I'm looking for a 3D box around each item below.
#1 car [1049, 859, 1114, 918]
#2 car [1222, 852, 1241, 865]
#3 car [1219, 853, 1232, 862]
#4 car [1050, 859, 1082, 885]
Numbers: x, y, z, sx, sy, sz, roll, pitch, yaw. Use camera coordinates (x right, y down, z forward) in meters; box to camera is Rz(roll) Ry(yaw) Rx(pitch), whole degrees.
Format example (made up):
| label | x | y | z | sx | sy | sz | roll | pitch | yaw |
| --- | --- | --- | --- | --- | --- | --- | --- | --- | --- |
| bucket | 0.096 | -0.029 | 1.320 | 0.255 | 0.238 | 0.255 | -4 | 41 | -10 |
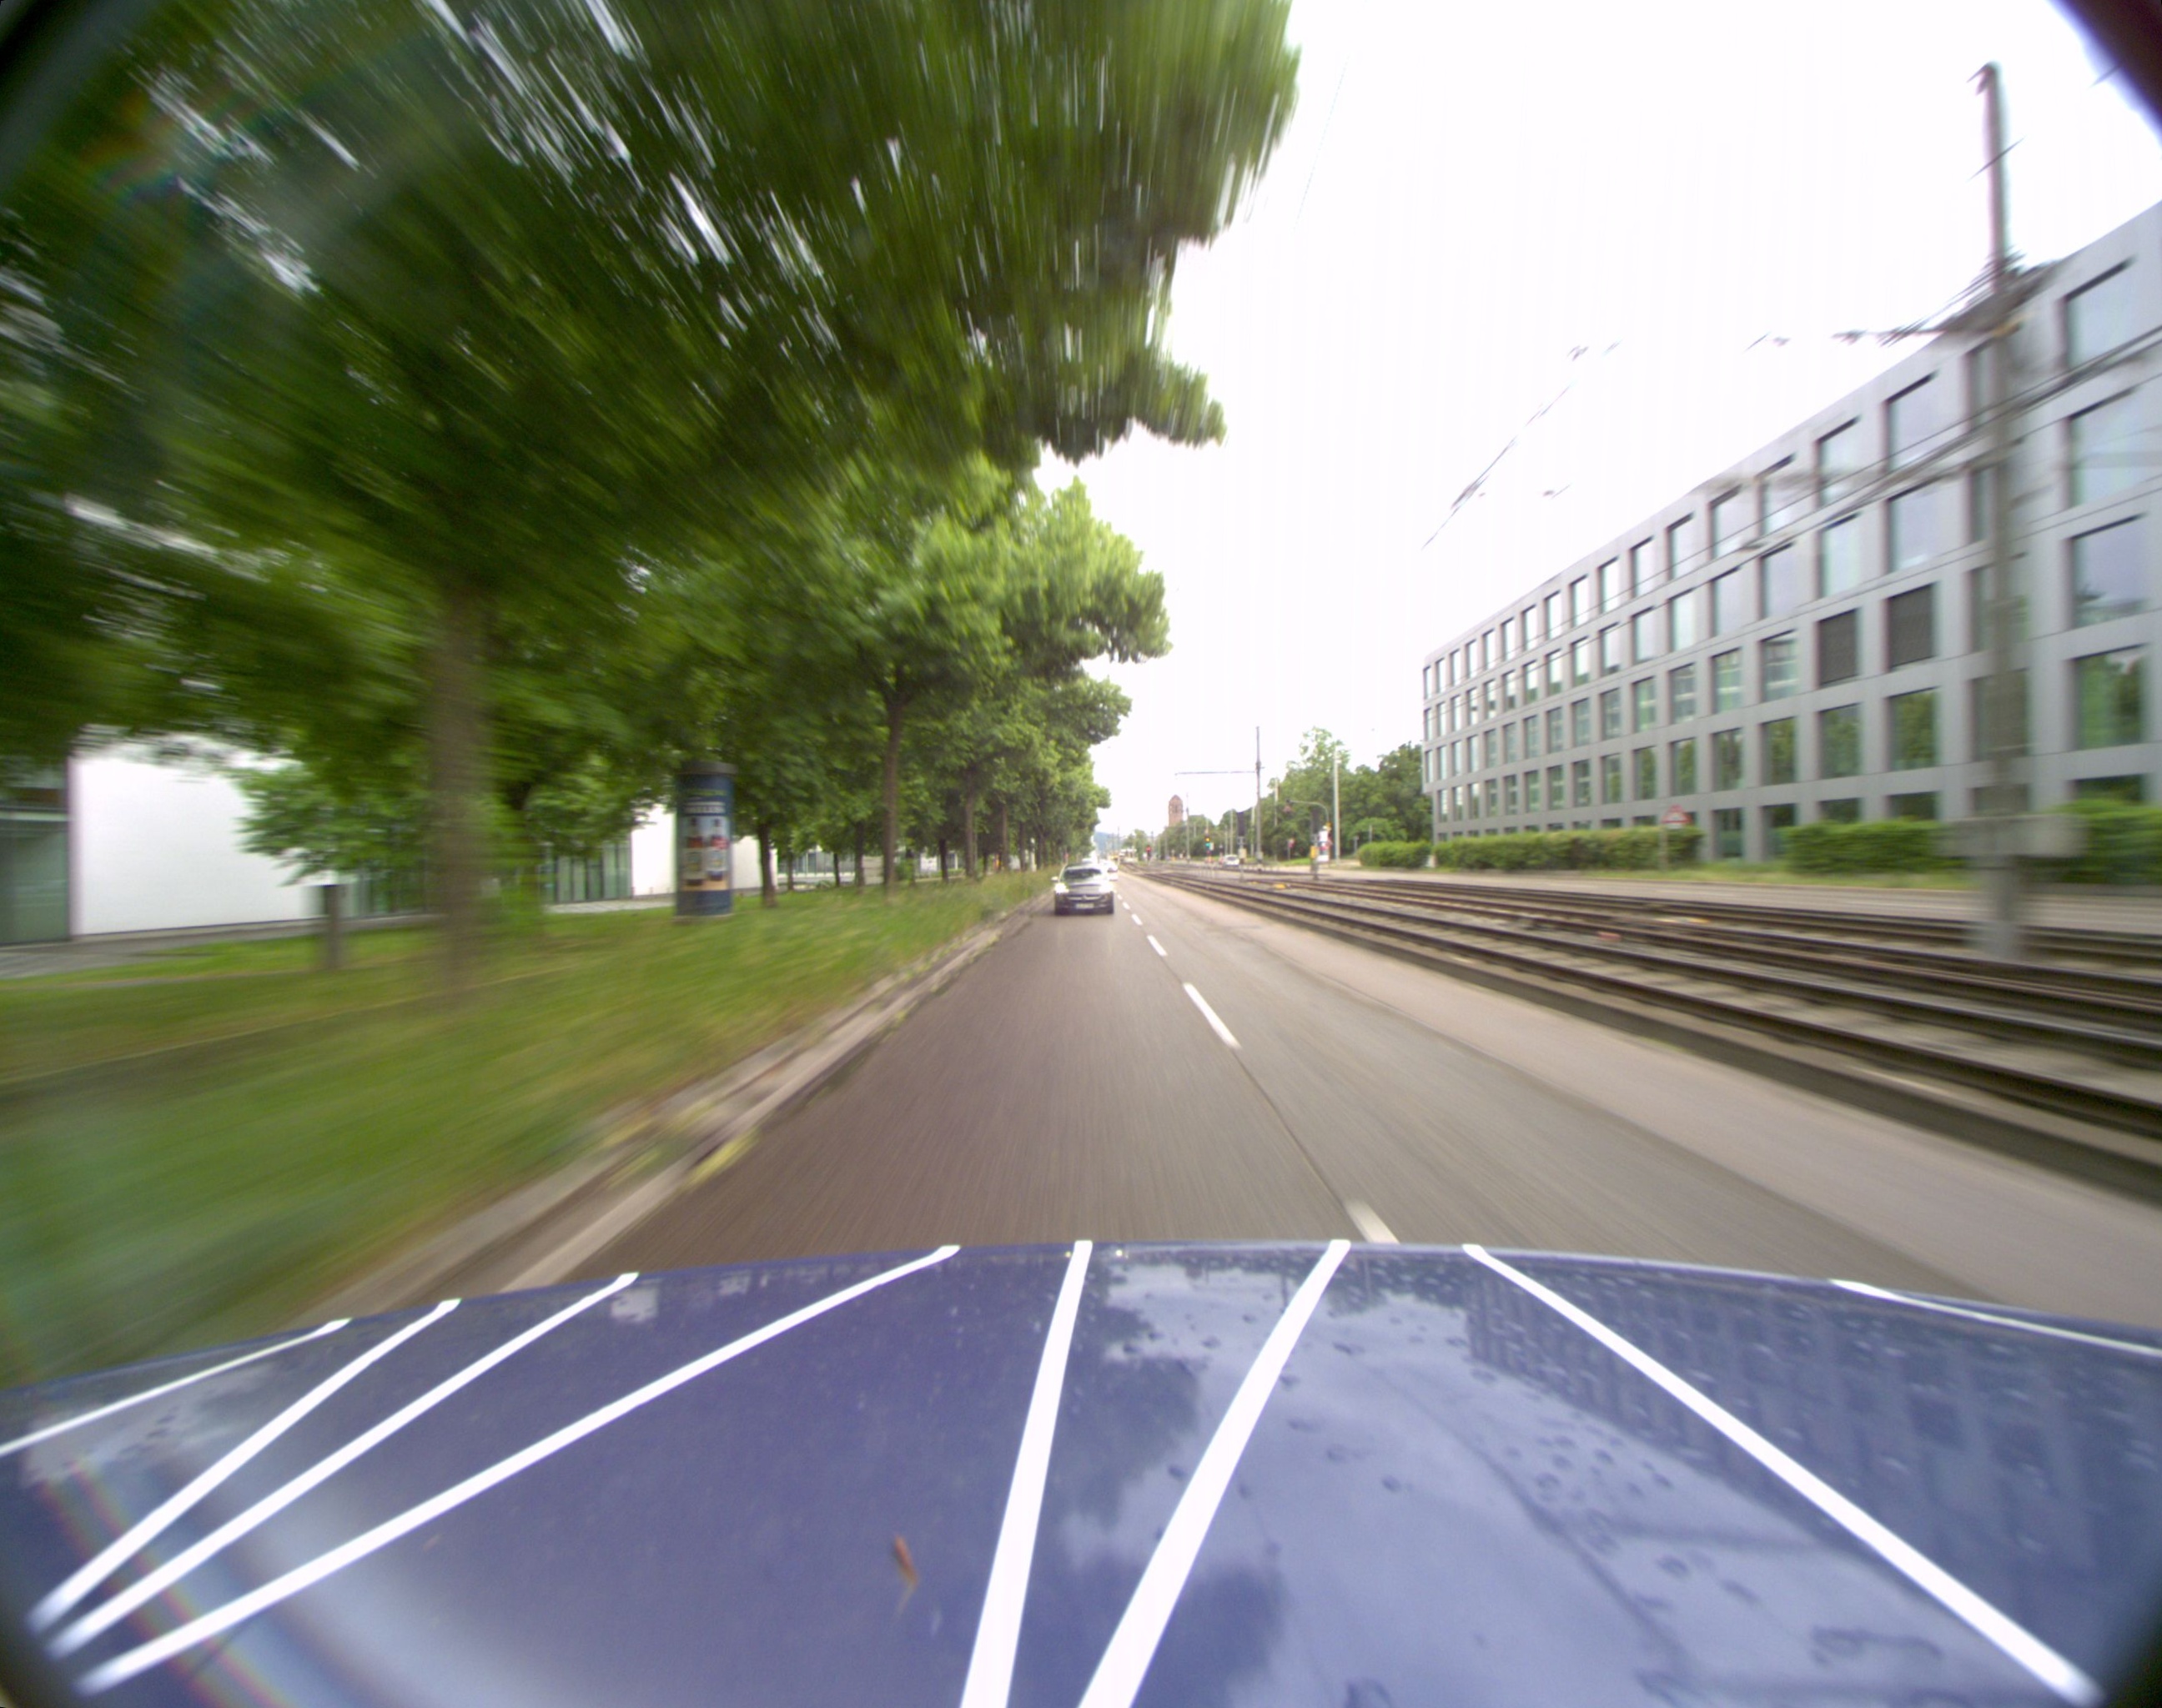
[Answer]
| label | x | y | z | sx | sy | sz | roll | pitch | yaw |
| --- | --- | --- | --- | --- | --- | --- | --- | --- | --- |
| car | 0.103 | 0.975 | 23.078 | 1.698 | 1.439 | 4.420 | -3 | 1 | 2 |
| car | 19.733 | 0.622 | 99.840 | 1.812 | 1.627 | 3.564 | -2 | 0 | 1 |
| car | 25.391 | 0.606 | 133.729 | 1.775 | 1.540 | 3.564 | -2 | 0 | 2 |
| car | -0.868 | 1.090 | 46.451 | 1.770 | 1.439 | 3.833 | -2 | 0 | 1 |
